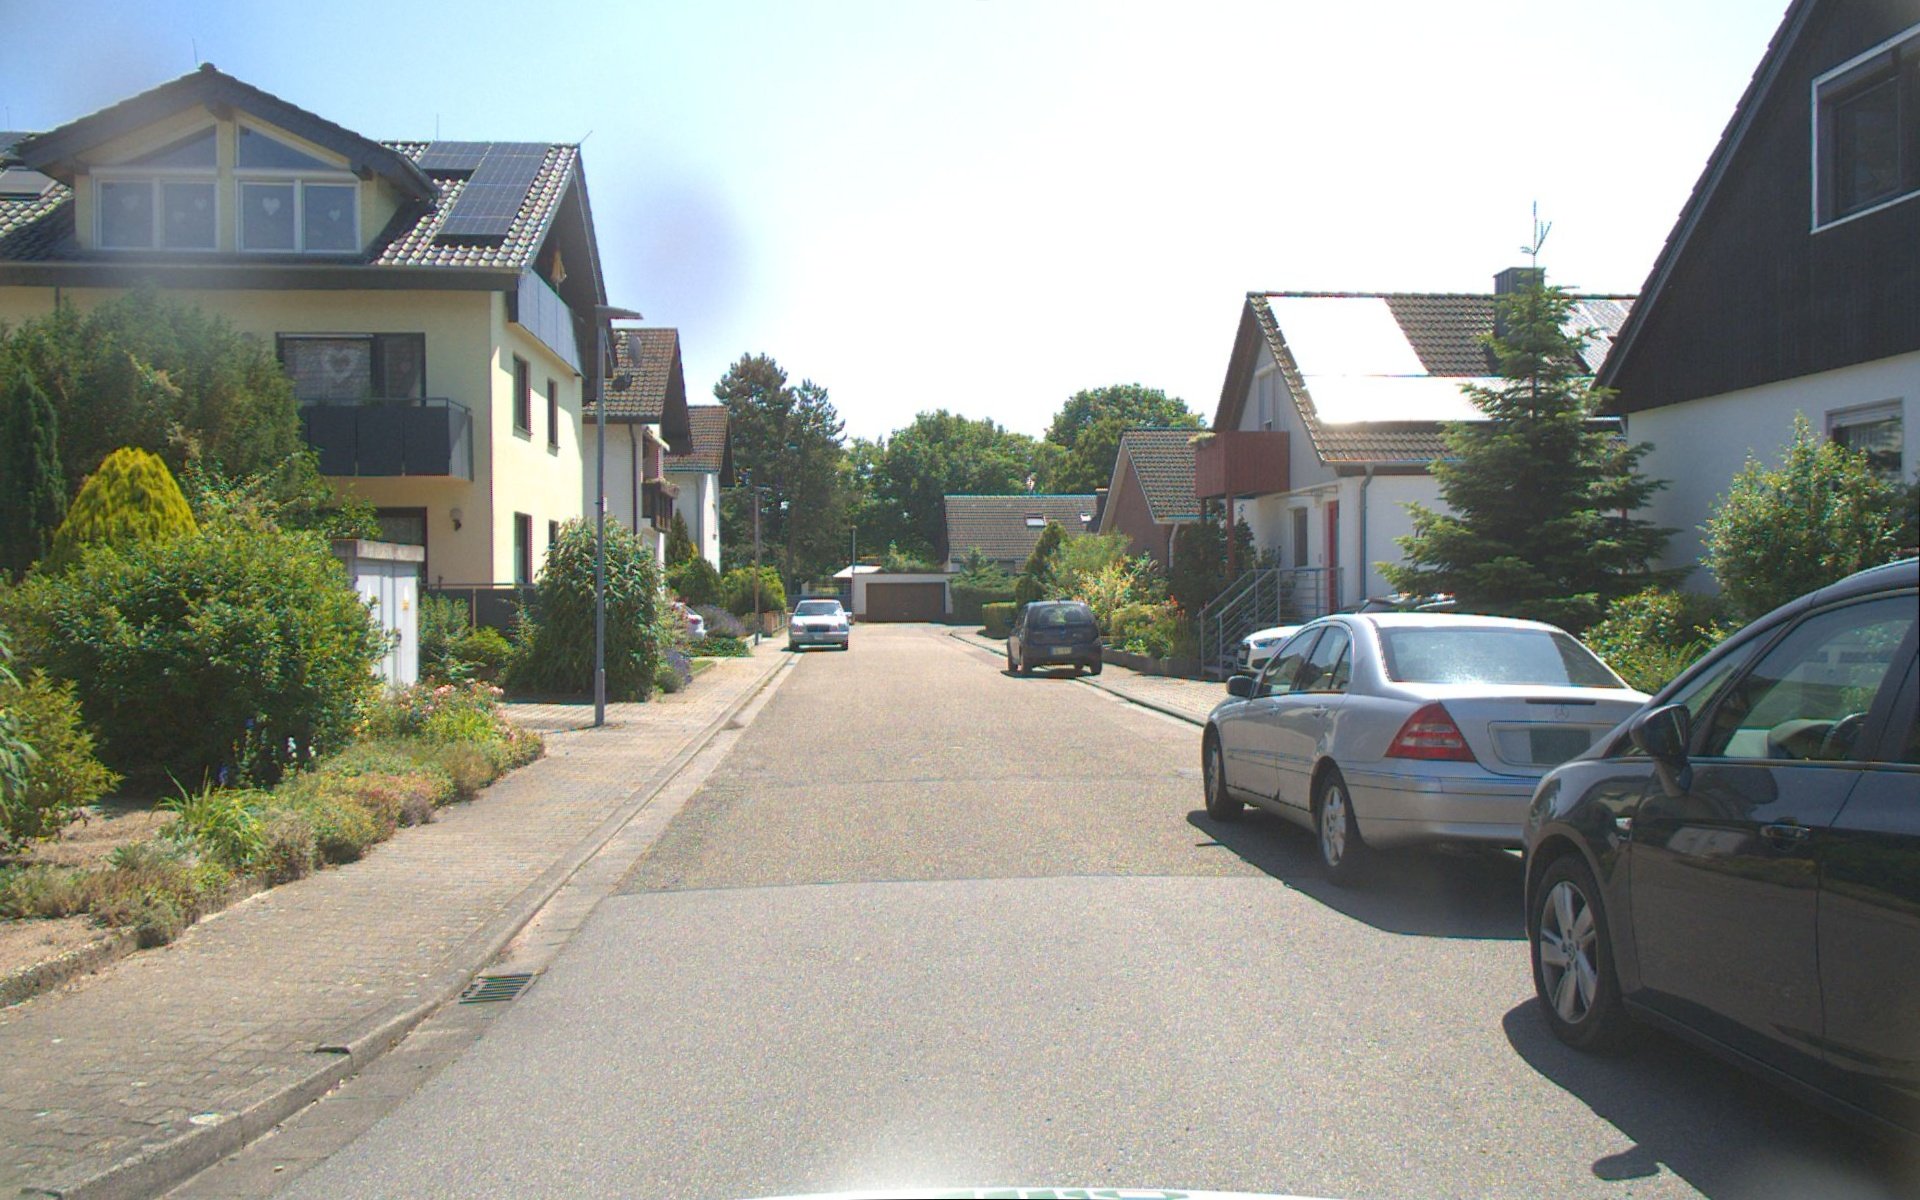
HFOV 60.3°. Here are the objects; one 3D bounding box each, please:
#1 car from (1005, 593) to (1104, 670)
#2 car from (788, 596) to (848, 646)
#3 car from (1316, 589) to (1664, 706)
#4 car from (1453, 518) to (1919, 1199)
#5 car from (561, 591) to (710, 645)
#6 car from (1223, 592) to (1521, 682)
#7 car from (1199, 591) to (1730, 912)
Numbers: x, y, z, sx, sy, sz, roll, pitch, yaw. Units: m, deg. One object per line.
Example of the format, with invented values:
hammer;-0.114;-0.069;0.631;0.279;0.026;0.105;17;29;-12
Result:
car;1.864;0.601;33.612;1.617;1.465;3.649;0;0;-3
car;-4.192;0.598;49.420;1.665;1.417;4.334;0;0;-3
car;7.256;0.616;22.912;4.157;1.512;1.998;0;1;-5
car;3.070;0.651;4.360;1.924;1.691;4.679;0;1;-3
car;-8.787;0.483;45.056;3.914;1.445;1.841;0;0;-10
car;6.773;0.593;27.498;4.446;1.421;1.951;0;0;-2
car;2.690;0.693;9.925;1.653;1.485;4.334;0;0;-3
